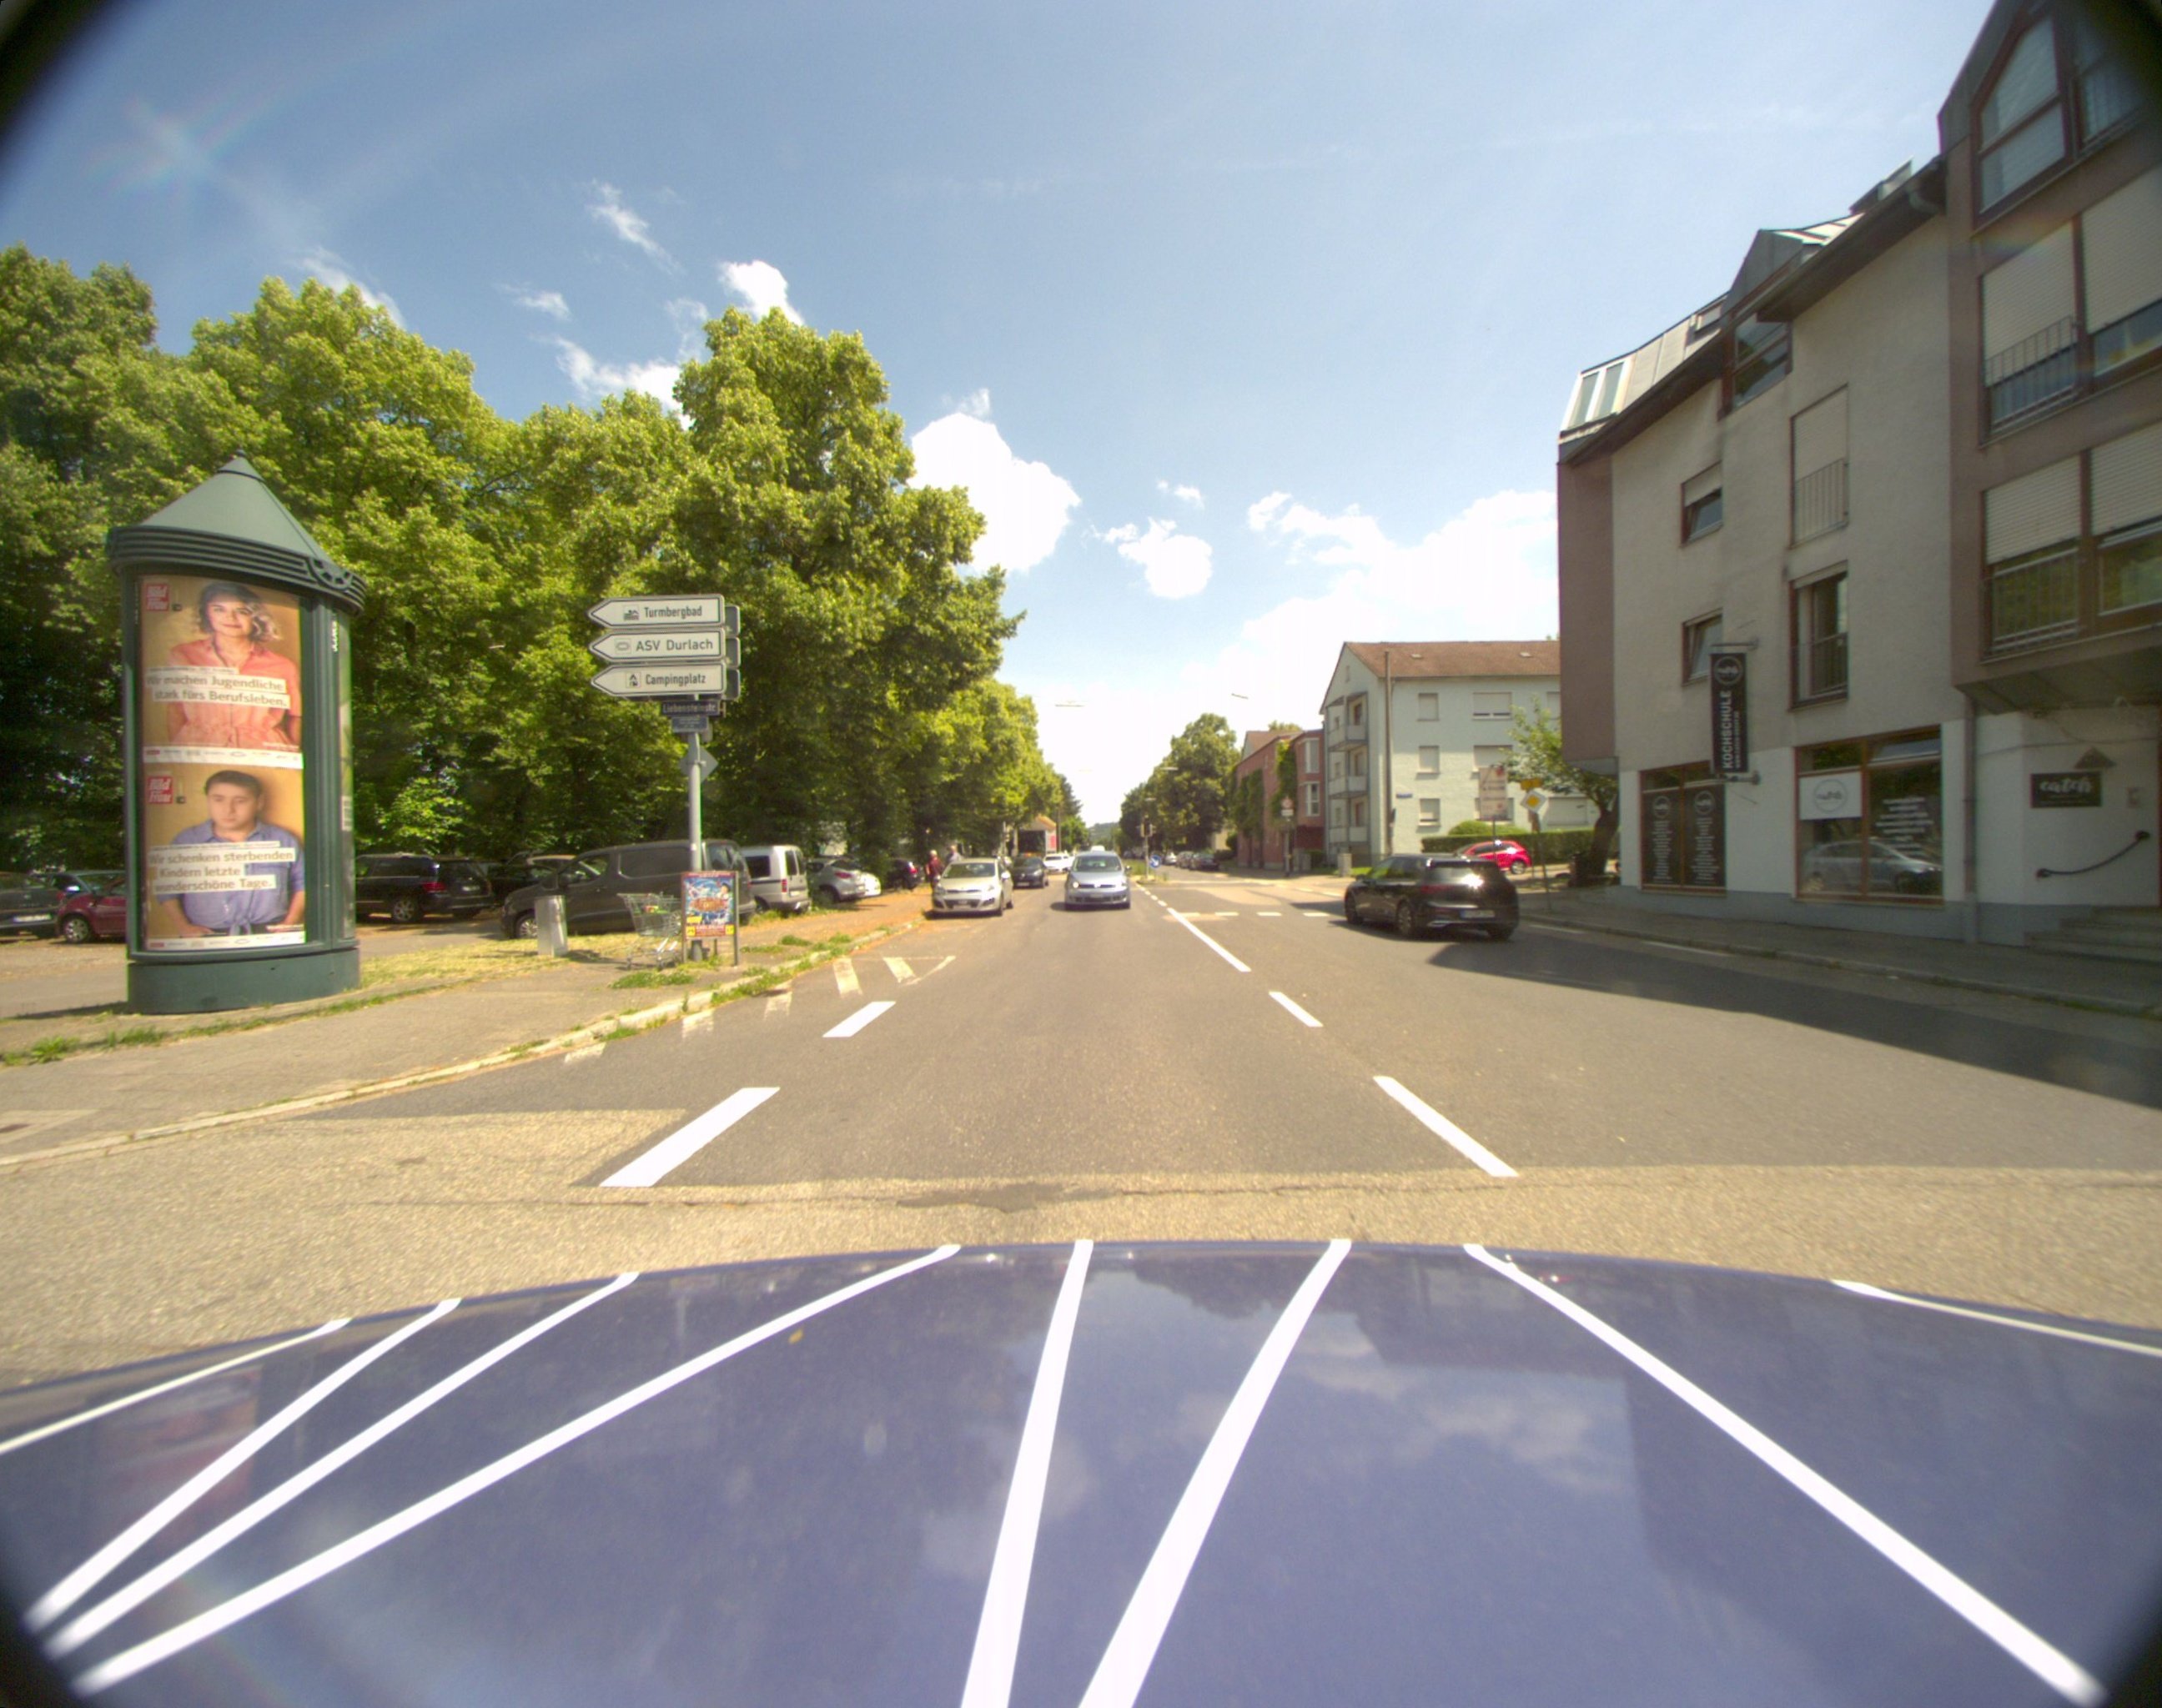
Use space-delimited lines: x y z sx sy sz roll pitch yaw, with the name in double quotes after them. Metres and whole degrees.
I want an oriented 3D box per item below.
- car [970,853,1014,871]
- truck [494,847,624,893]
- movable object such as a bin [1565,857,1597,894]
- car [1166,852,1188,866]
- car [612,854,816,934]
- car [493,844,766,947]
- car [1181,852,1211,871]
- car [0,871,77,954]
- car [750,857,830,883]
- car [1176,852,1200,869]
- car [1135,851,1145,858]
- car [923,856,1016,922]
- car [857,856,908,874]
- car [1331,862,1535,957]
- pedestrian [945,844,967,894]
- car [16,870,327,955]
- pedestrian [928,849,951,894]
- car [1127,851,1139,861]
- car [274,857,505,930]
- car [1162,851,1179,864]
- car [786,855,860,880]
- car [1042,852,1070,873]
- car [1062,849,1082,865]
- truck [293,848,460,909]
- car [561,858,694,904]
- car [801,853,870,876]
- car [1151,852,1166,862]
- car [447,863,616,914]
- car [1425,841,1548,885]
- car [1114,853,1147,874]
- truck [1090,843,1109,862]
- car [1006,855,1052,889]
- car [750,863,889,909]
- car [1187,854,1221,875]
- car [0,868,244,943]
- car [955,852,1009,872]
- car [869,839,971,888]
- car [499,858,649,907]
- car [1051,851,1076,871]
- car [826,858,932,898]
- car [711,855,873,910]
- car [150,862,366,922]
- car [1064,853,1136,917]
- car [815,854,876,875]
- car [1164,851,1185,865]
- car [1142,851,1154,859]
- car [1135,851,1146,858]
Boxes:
-7.955 0.692 68.362 3.762 1.518 1.853 -1 0 -2 "car"
-21.642 0.645 31.590 4.130 1.804 1.879 0 1 3 "truck"
15.000 0.632 22.806 0.674 1.090 0.631 -1 1 -39 "movable object such as a bin"
10.037 0.504 79.640 1.752 1.433 3.999 -2 0 0 "car"
-8.181 0.864 17.215 3.774 1.657 1.663 -1 1 -3 "car"
-8.526 0.741 14.648 3.997 1.740 2.016 -2 1 0 "car"
10.000 0.644 66.502 1.891 1.531 4.568 -1 0 -1 "car"
-22.069 1.119 14.587 3.389 1.545 1.591 0 1 -1 "car"
-17.000 0.898 44.516 3.996 1.464 1.805 0 1 3 "car"
10.191 0.583 72.623 1.752 1.499 3.999 -2 0 0 "car"
11.826 0.133 152.417 1.757 1.325 3.607 -2 0 0 "car"
-2.808 0.837 19.987 1.771 1.476 3.891 -2 1 1 "car"
-16.614 0.916 63.628 3.808 1.456 1.737 0 0 -3 "car"
6.178 0.894 13.943 1.747 1.411 4.222 0 0 0 "car"
-4.438 0.526 27.041 0.618 1.754 0.737 -2 1 1 "pedestrian"
-17.668 1.099 14.913 3.997 1.520 1.680 0 1 -1 "car"
-5.028 0.610 27.065 0.618 1.584 0.737 -2 1 1 "pedestrian"
9.084 0.340 131.932 1.752 1.499 3.999 -2 0 0 "car"
-16.800 0.913 18.608 3.998 1.669 1.701 0 1 -2 "car"
10.725 0.372 91.230 1.572 1.499 3.999 -2 0 0 "car"
-17.059 0.878 50.359 4.263 1.578 1.819 0 0 0 "car"
-1.822 0.608 56.366 1.721 1.434 4.112 -2 0 2 "car"
-0.822 0.304 71.345 1.775 1.434 3.338 -2 0 2 "car"
-22.560 0.760 24.440 3.806 1.870 1.738 0 1 3 "truck"
-17.141 0.992 28.835 3.996 1.652 1.805 0 1 3 "car"
-17.150 0.722 53.259 4.265 1.578 1.818 0 0 -5 "car"
11.139 0.456 109.002 1.757 1.325 3.607 -2 0 0 "car"
-16.993 1.055 23.622 3.997 1.475 1.680 0 1 -1 "car"
16.598 0.384 31.233 3.997 1.443 1.733 -5 -1 0 "car"
3.670 0.682 56.917 1.868 1.516 4.290 -2 0 -3 "car"
2.322 -0.181 93.154 1.866 2.211 4.506 -2 0 6 "truck"
-2.301 0.781 34.584 1.667 1.420 4.000 -1 0 2 "car"
-8.601 1.038 25.180 3.996 1.420 1.669 0 0 2 "car"
9.688 0.790 60.141 1.891 1.531 4.568 -1 0 -1 "car"
-21.980 1.156 17.412 3.909 1.459 1.690 -2 0 5 "car"
-7.353 0.572 56.436 3.848 1.350 1.628 -2 1 -7 "car"
-8.203 0.470 38.967 4.613 2.263 2.106 -3 0 2 "car"
-17.435 0.953 26.264 3.997 1.631 1.680 0 1 -1 "car"
-1.441 0.566 64.010 1.867 1.516 4.208 -2 0 2 "car"
-8.624 1.013 32.635 3.996 1.464 1.717 -3 1 3 "car"
-8.341 0.805 22.180 3.997 1.390 1.808 -2 0 0 "car"
-21.693 0.971 20.147 3.807 1.451 1.738 0 0 0 "car"
0.517 0.764 20.821 1.747 1.513 4.223 -1 0 1 "car"
-17.246 0.739 55.819 3.956 1.513 1.737 0 0 -3 "car"
10.567 0.400 86.065 1.752 1.499 3.999 -2 0 0 "car"
11.486 0.198 130.594 1.757 1.325 3.607 -2 0 0 "car"
11.516 0.055 147.443 1.757 1.325 3.607 -2 0 0 "car"
